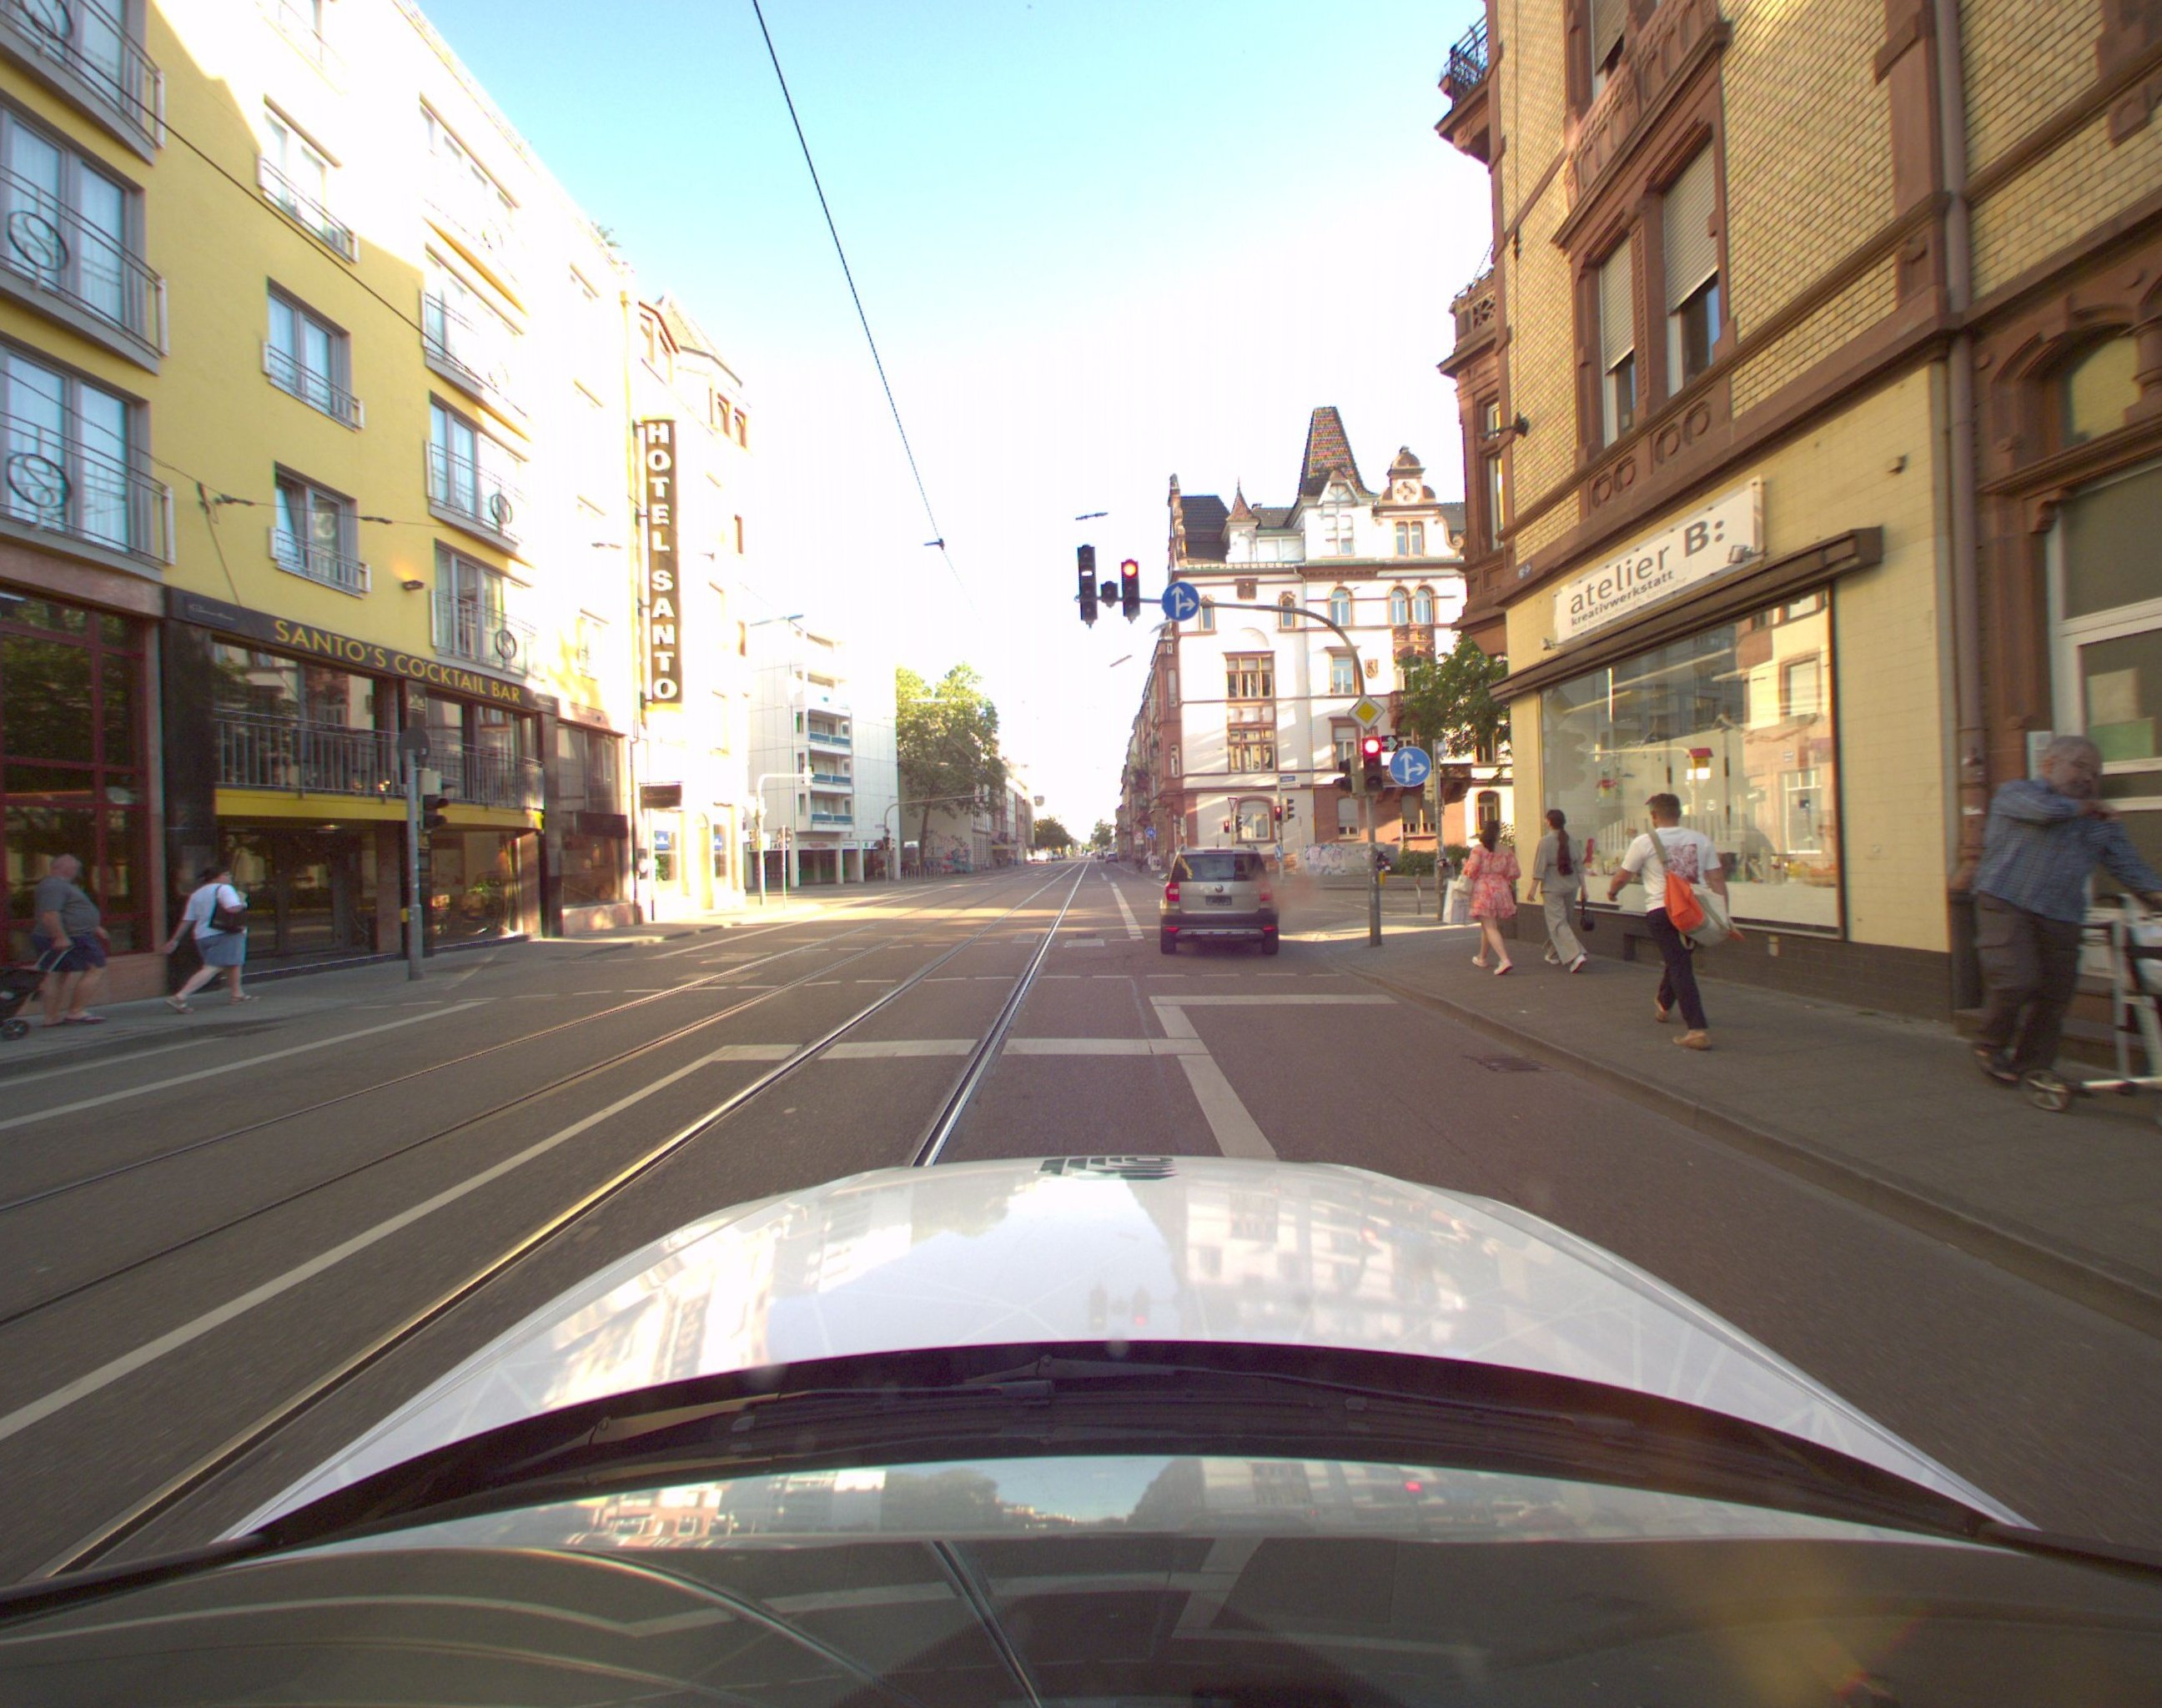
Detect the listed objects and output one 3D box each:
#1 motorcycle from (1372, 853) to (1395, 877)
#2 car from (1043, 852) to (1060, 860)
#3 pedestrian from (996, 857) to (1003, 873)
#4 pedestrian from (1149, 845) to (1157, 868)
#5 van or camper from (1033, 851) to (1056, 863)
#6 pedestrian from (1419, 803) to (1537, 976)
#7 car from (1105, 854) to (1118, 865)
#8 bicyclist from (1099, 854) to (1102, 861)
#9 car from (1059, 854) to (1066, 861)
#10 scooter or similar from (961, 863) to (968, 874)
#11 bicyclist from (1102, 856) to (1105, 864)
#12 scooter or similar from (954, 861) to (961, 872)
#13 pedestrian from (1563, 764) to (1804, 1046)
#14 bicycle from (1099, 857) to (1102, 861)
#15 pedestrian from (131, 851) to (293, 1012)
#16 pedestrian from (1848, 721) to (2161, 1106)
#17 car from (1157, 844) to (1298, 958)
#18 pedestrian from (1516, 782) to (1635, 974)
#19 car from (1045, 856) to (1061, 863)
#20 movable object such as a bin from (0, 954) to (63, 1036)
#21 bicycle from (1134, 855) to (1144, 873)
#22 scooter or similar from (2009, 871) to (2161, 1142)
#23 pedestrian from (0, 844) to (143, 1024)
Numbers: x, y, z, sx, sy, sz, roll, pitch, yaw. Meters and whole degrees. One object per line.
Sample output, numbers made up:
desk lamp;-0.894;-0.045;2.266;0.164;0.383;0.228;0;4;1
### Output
motorcycle;14.468;0.500;38.974;0.714;1.020;2.295;-1;2;12
car;-7.765;0.533;214.624;4.005;2.013;1.984;-1;0;-24
pedestrian;-9.136;1.211;91.382;0.699;1.728;0.648;-1;0;1
pedestrian;5.725;0.223;64.531;0.542;1.780;0.504;-1;0;1
van or camper;-8.049;0.620;179.016;4.664;2.563;1.981;0;-1;-30
pedestrian;4.450;0.382;9.180;0.803;1.799;0.761;-5;0;-1
car;4.848;0.813;128.802;1.942;1.684;4.002;-1;0;2
bicyclist;4.455;0.816;188.948;0.573;1.452;0.645;-1;0;2
car;-5.500;0.933;240.421;1.987;2.013;4.000;-1;0;0
scooter or similar;-11.444;1.440;80.079;0.515;1.057;1.477;-1;0;-1
bicyclist;4.414;1.105;158.208;0.573;1.554;0.595;-1;0;2
scooter or similar;-12.117;1.235;80.049;0.515;1.045;1.477;-1;0;-1
pedestrian;4.323;0.334;5.952;0.803;1.799;1.091;-5;0;-1
bicycle;4.470;1.171;188.939;0.573;1.030;1.896;-1;0;2
pedestrian;-10.570;0.899;9.955;0.749;1.818;1.046;3;0;1
pedestrian;4.913;0.286;4.329;0.802;1.799;0.762;-5;0;1
car;2.276;0.669;13.611;1.984;1.618;4.006;0;0;5
pedestrian;5.238;0.246;8.669;0.688;1.908;0.670;-5;0;-1
car;-7.725;1.513;228.141;4.005;2.013;1.984;-1;0;-24
movable object such as a bin;-10.595;1.387;7.879;0.382;0.716;0.841;3;0;2
bicycle;4.231;0.713;59.442;0.650;1.323;2.178;-1;0;3
scooter or similar;4.932;0.649;3.668;0.802;1.070;0.521;-6;0;0
pedestrian;-10.788;0.808;8.700;0.790;1.771;0.754;3;0;25
